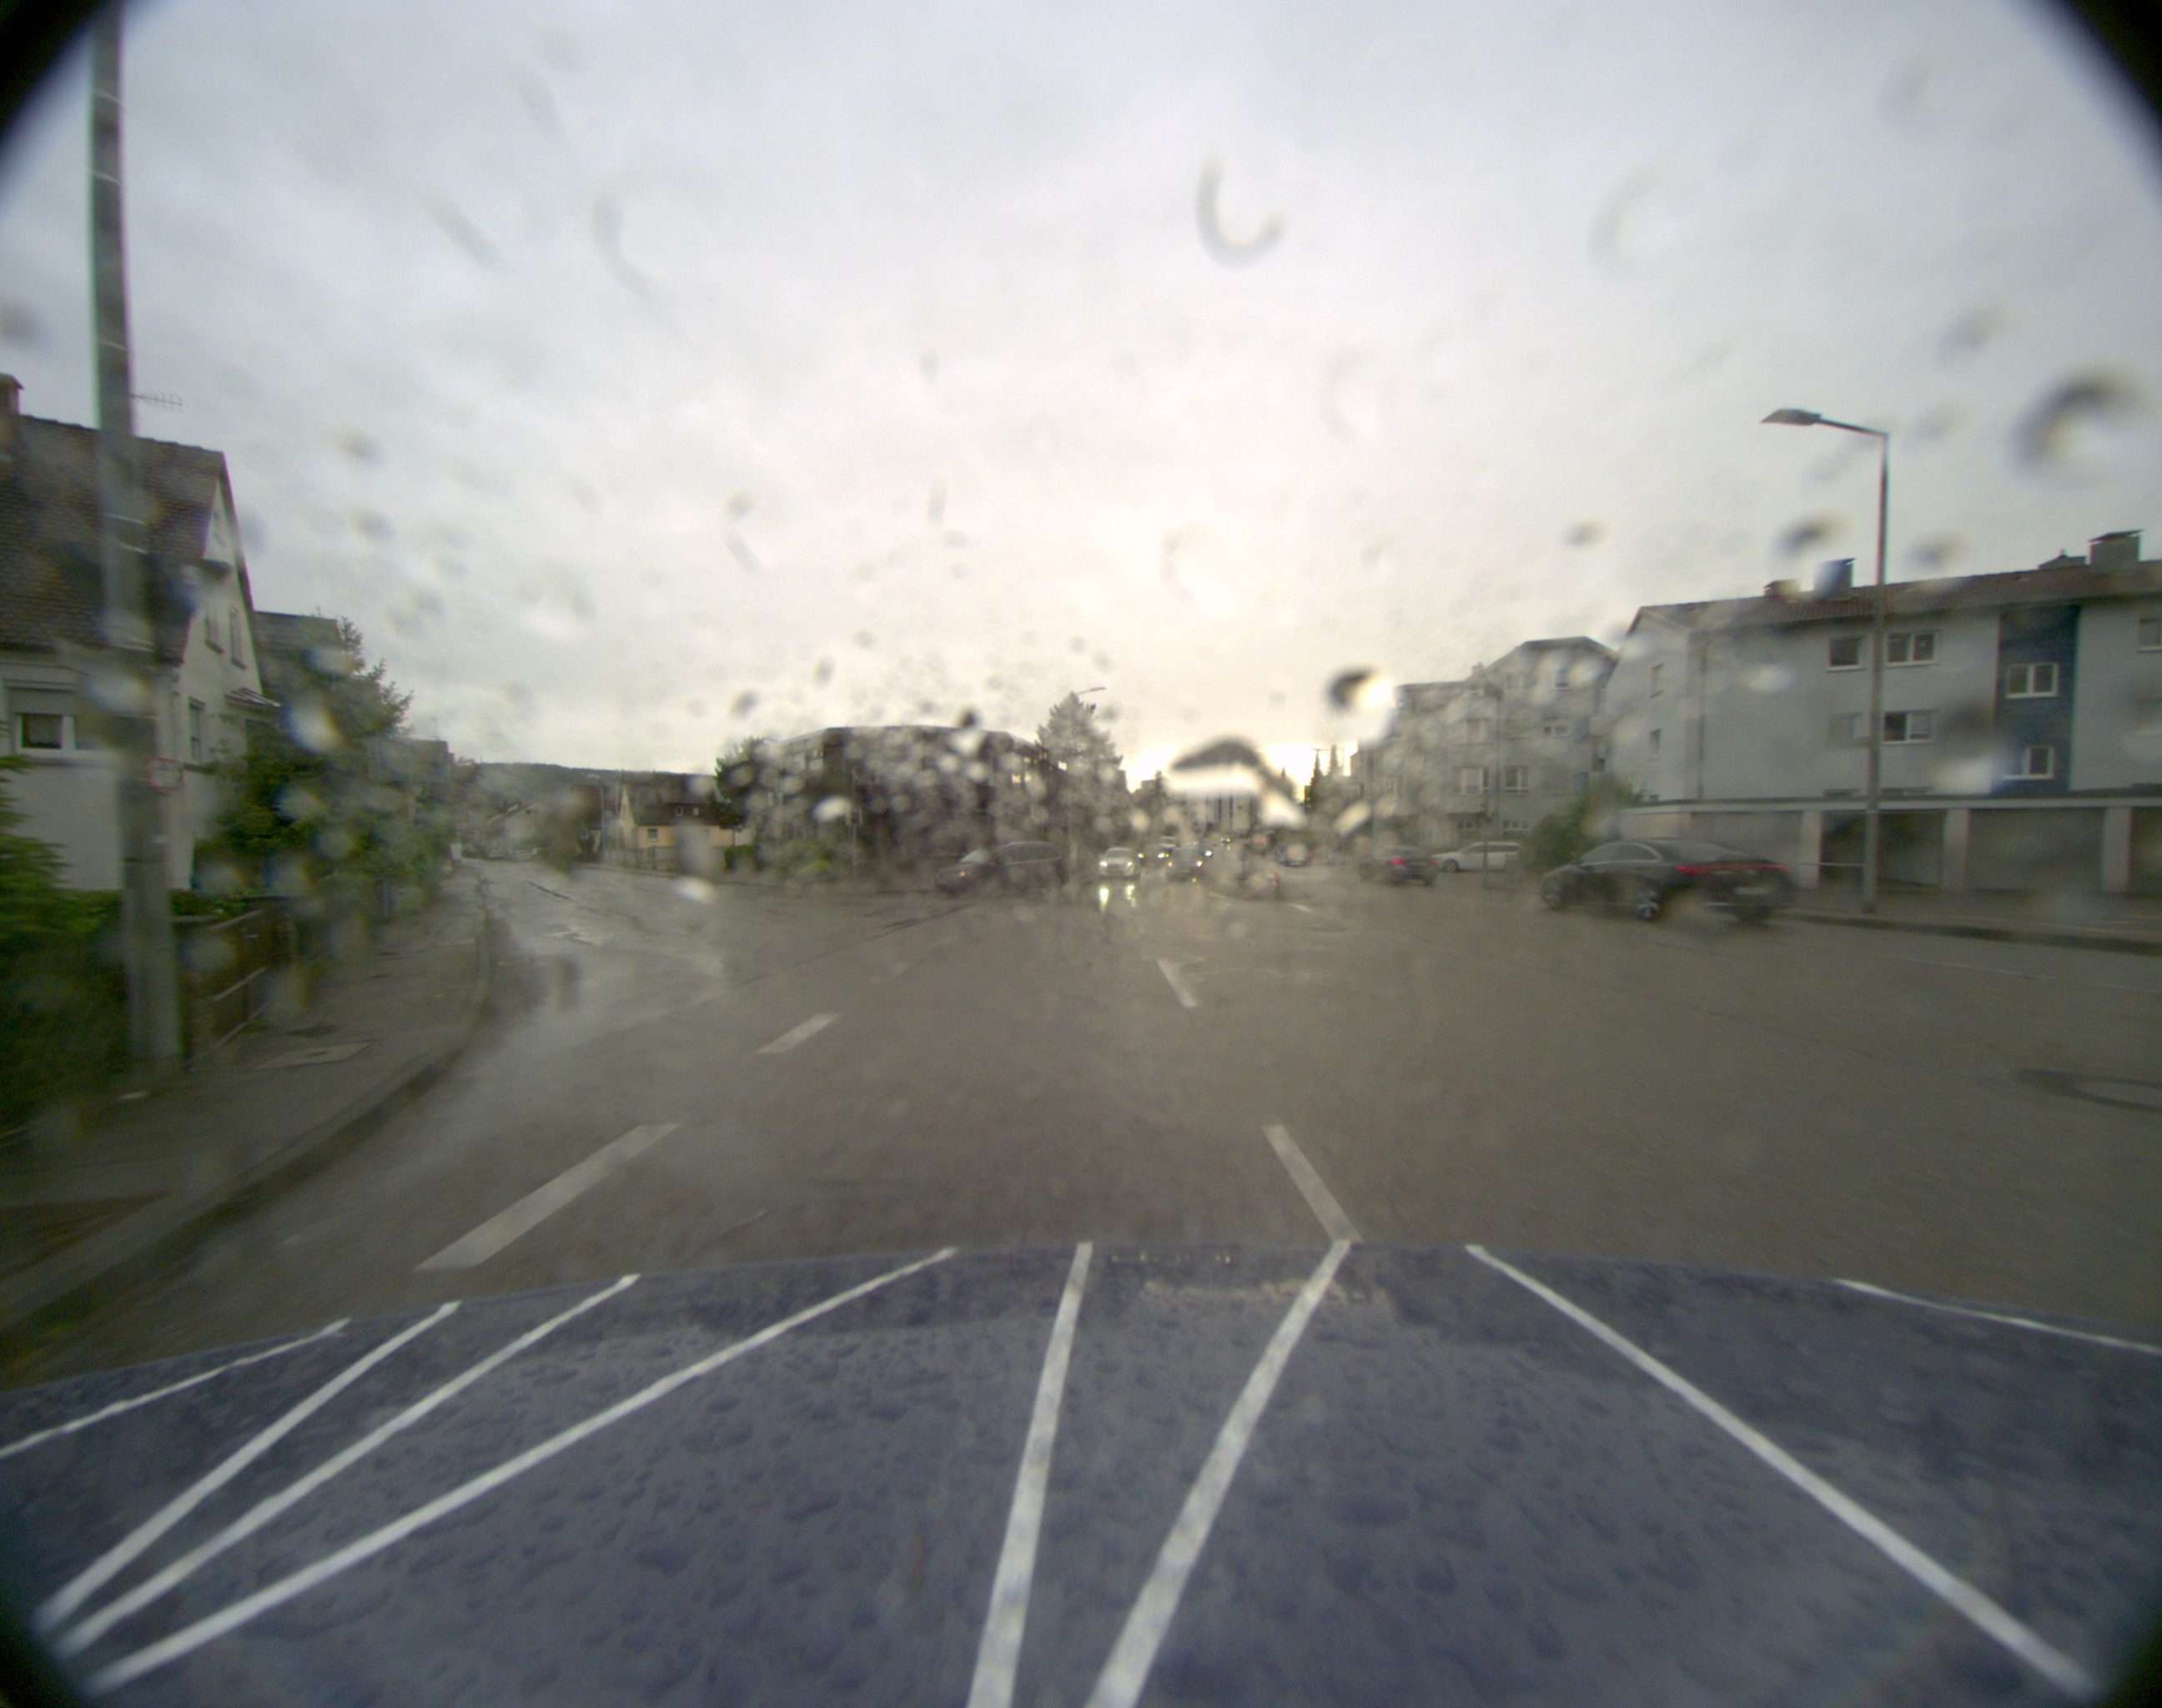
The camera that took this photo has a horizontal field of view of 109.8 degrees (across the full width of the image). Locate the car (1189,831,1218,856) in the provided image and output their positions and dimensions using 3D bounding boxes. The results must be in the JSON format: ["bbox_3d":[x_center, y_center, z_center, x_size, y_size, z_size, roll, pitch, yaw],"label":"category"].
[{"bbox_3d":[10.105,-0.856,62.502,1.996,2.002,4.004,0,1,14],"label":"car"}]

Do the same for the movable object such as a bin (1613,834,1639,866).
[{"bbox_3d":[17.243,-0.137,24.047,0.499,0.956,0.535,-4,2,20],"label":"movable object such as a bin"}]

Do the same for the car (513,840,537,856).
[{"bbox_3d":[-72.760,-0.812,99.430,2.004,2.002,3.988,-2,2,-42],"label":"car"}]

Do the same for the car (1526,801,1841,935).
[{"bbox_3d":[10.463,0.169,13.806,1.999,2.002,4.650,-1,1,0],"label":"car"}]

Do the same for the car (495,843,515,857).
[{"bbox_3d":[-87.839,-0.636,115.857,2.004,2.002,3.988,-2,2,-43],"label":"car"}]

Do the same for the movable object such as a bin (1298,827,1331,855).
[{"bbox_3d":[23.965,-1.309,77.977,2.920,2.825,2.200,0,1,26],"label":"movable object such as a bin"}]

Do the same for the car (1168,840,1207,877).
[{"bbox_3d":[4.870,0.166,34.385,1.650,1.547,3.353,0,1,9],"label":"car"}]

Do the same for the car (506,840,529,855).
[{"bbox_3d":[-77.179,-0.882,104.037,2.004,2.002,3.988,-2,2,-43],"label":"car"}]

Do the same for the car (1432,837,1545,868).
[{"bbox_3d":[20.155,-0.083,37.813,4.617,1.488,1.931,0,2,16],"label":"car"}]

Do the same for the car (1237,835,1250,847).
[{"bbox_3d":[27.615,-2.281,128.952,1.996,2.002,4.003,0,1,13],"label":"car"}]

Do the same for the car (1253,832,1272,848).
[{"bbox_3d":[21.017,-1.621,88.169,2.100,1.822,4.737,0,1,13],"label":"car"}]

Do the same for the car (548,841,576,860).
[{"bbox_3d":[-57.849,-0.401,84.655,2.004,2.002,3.988,-2,2,-41],"label":"car"}]

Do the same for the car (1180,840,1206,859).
[{"bbox_3d":[11.430,-0.514,77.443,1.996,1.849,4.004,2,2,16],"label":"car"}]

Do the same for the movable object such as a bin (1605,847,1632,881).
[{"bbox_3d":[17.477,0.319,24.721,0.499,1.013,0.688,-4,2,21],"label":"movable object such as a bin"}]

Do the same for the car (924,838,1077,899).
[{"bbox_3d":[-2.548,0.391,24.943,4.657,1.740,1.994,-2,2,-41],"label":"car"}]

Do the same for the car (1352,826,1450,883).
[{"bbox_3d":[12.448,-0.031,30.019,2.094,2.002,5.982,0,1,8],"label":"car"}]

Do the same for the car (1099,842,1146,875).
[{"bbox_3d":[2.044,0.174,36.361,1.828,1.431,4.346,-1,1,8],"label":"car"}]

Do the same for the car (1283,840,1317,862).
[{"bbox_3d":[15.172,-0.250,52.824,1.791,1.464,4.165,0,1,9],"label":"car"}]

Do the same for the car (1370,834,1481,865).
[{"bbox_3d":[19.574,-0.239,43.427,5.470,1.674,2.150,0,1,14],"label":"car"}]

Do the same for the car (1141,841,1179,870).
[{"bbox_3d":[5.606,0.072,53.489,1.996,1.849,4.004,2,2,15],"label":"car"}]
